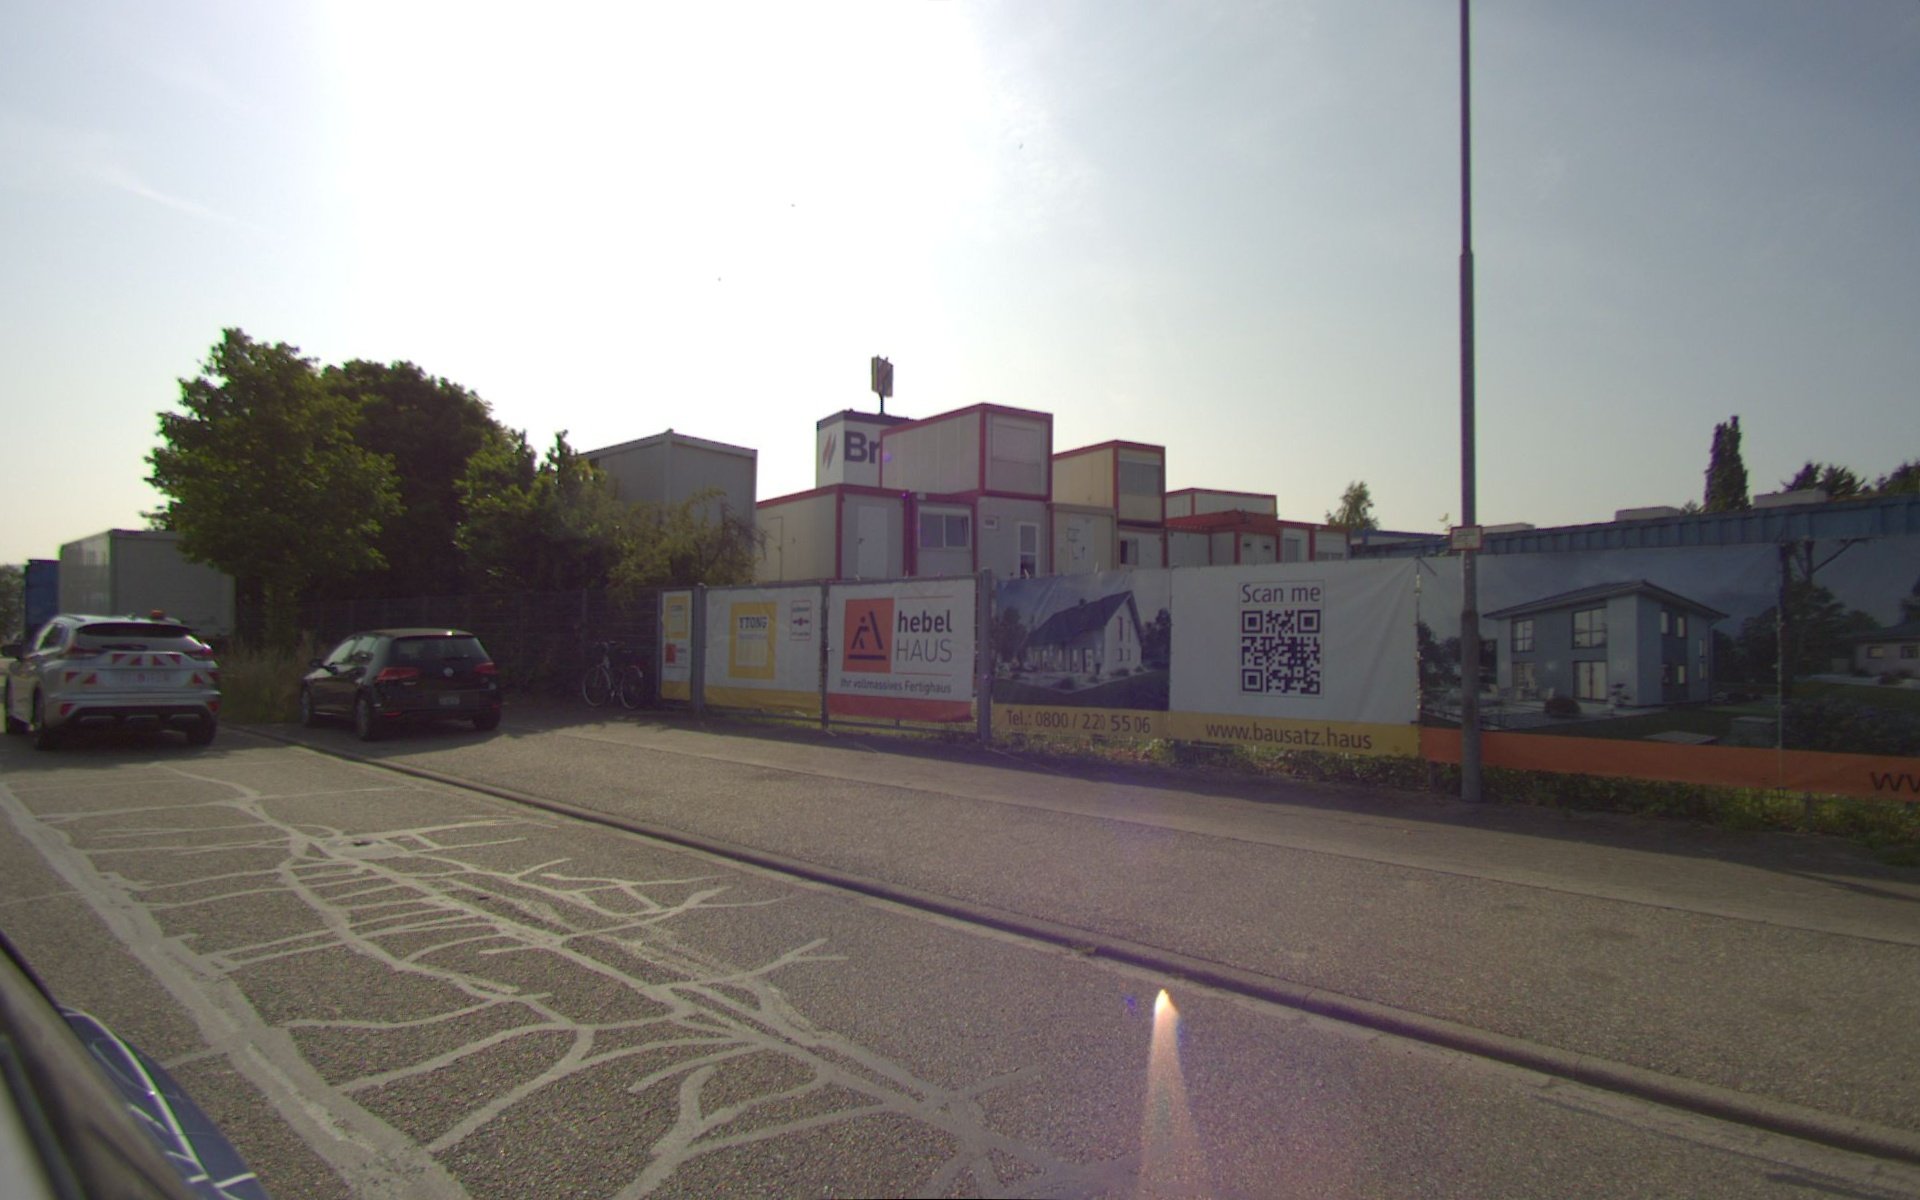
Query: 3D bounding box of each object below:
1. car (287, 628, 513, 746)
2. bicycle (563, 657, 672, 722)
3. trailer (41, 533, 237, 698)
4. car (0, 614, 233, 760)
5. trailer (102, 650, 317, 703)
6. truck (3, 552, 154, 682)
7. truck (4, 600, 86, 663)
[{"bbox_3d":[-8.245,1.172,14.748,4.093,1.481,1.669,-2,-3,43],"label":"car"},{"bbox_3d":[-5.755,1.466,16.920,2.451,0.980,0.556,-2,-3,41],"label":"bicycle"},{"bbox_3d":[-23.162,0.480,28.295,9.761,3.914,2.671,-2,-2,41],"label":"trailer"},{"bbox_3d":[-11.372,1.061,13.465,4.247,1.639,1.793,-2,-4,41],"label":"car"},{"bbox_3d":[-17.139,1.666,22.972,6.239,0.993,2.621,-2,-4,41],"label":"trailer"},{"bbox_3d":[-30.395,0.622,34.714,9.632,3.914,2.684,-2,-2,42],"label":"truck"},{"bbox_3d":[-60.134,2.134,66.421,10.059,3.883,2.747,-2,-5,42],"label":"truck"}]
